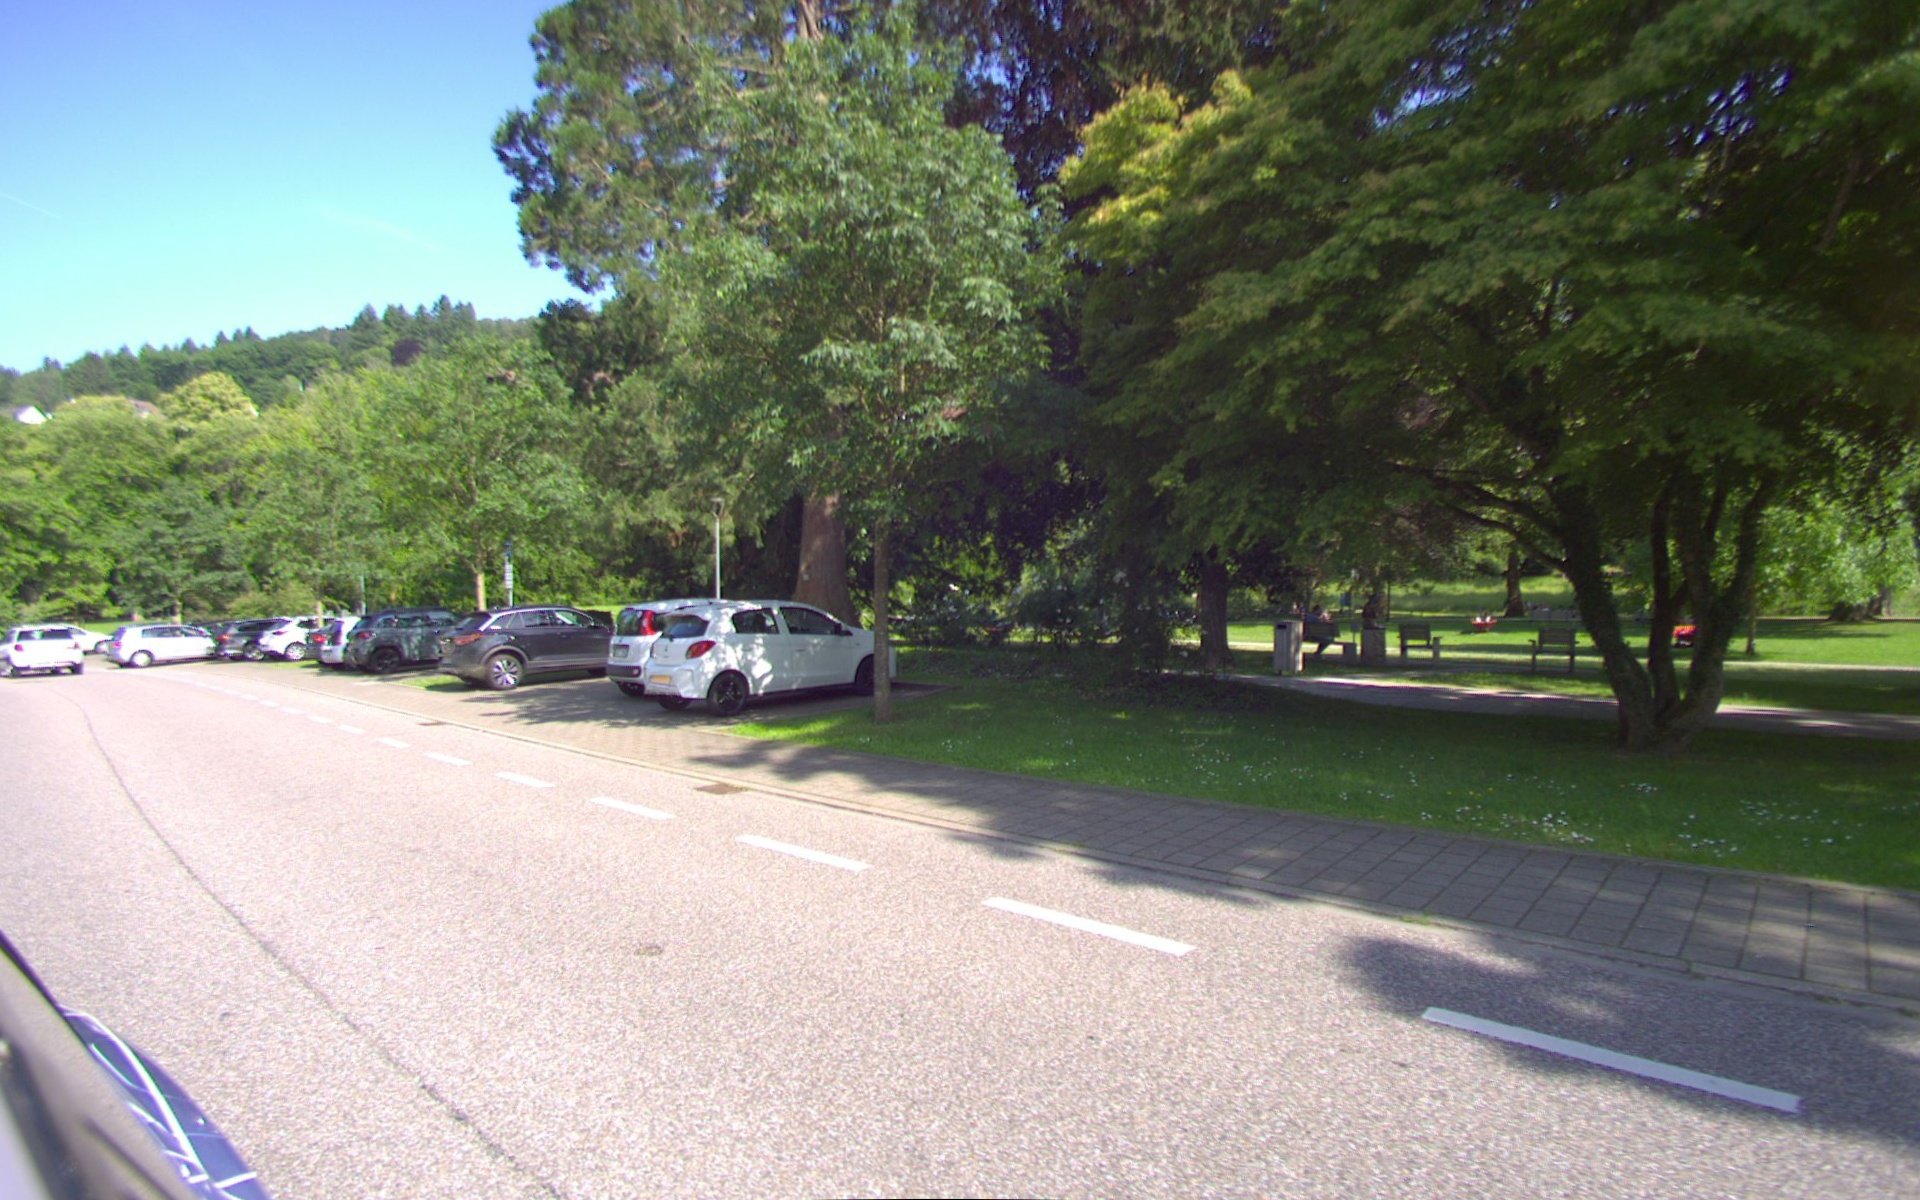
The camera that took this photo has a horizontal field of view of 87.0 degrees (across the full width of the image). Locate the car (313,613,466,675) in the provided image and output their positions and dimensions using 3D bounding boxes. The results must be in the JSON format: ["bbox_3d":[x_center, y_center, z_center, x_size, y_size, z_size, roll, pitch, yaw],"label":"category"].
[{"bbox_3d":[-16.074,1.191,28.610,3.441,1.436,1.555,-4,2,-44],"label":"car"}]

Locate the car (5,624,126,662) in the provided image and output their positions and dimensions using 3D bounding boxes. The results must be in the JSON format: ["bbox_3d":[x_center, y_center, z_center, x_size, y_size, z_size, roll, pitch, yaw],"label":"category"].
[{"bbox_3d":[-42.025,2.004,47.658,1.506,1.488,3.971,-2,1,22],"label":"car"}]

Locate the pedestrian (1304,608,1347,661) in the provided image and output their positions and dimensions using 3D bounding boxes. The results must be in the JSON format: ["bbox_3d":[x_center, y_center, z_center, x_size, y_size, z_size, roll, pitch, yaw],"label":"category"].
[{"bbox_3d":[8.770,0.810,24.266,0.645,1.232,0.711,0,0,-27],"label":"pedestrian"}]

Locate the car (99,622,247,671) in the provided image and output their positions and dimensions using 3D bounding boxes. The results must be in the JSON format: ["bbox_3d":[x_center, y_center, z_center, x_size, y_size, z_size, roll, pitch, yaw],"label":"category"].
[{"bbox_3d":[-28.473,1.652,36.723,1.513,1.408,3.952,-2,2,36],"label":"car"}]

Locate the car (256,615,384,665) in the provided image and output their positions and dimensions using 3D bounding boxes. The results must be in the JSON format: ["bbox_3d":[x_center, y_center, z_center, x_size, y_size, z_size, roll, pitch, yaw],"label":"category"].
[{"bbox_3d":[-22.029,1.329,34.904,3.441,1.436,1.555,-4,2,-44],"label":"car"}]

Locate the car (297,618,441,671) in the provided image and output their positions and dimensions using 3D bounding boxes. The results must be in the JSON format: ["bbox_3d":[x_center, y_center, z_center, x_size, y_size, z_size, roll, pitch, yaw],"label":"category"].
[{"bbox_3d":[-17.827,1.300,30.597,3.441,1.311,1.555,-4,2,-44],"label":"car"}]

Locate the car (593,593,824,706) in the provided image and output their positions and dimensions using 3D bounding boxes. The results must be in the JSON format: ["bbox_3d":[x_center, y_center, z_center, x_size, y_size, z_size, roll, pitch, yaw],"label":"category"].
[{"bbox_3d":[-4.092,0.740,16.808,3.441,1.564,1.381,-3,1,-44],"label":"car"}]

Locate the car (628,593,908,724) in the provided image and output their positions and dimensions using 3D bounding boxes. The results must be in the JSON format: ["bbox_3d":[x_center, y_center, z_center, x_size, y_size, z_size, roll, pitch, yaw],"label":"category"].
[{"bbox_3d":[-2.656,0.743,14.523,3.634,1.498,1.567,-3,1,-44],"label":"car"}]

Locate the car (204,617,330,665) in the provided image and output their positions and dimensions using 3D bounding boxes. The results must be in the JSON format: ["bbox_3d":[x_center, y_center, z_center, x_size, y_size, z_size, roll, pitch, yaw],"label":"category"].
[{"bbox_3d":[-24.704,1.427,36.128,3.441,1.436,1.555,-4,2,-44],"label":"car"}]

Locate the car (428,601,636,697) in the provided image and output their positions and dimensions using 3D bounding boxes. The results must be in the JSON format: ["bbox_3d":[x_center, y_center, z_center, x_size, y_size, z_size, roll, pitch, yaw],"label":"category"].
[{"bbox_3d":[-8.361,0.902,19.947,3.441,1.557,1.445,-4,1,-44],"label":"car"}]

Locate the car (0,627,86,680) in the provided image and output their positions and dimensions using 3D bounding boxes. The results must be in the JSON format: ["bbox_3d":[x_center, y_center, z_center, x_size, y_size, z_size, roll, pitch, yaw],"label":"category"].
[{"bbox_3d":[-29.057,1.653,31.671,3.992,1.516,1.755,-2,-1,36],"label":"car"}]

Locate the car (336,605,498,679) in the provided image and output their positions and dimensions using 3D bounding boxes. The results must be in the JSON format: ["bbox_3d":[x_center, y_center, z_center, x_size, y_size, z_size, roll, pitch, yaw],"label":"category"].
[{"bbox_3d":[-14.173,1.038,26.525,3.441,1.632,1.381,-4,2,-44],"label":"car"}]
